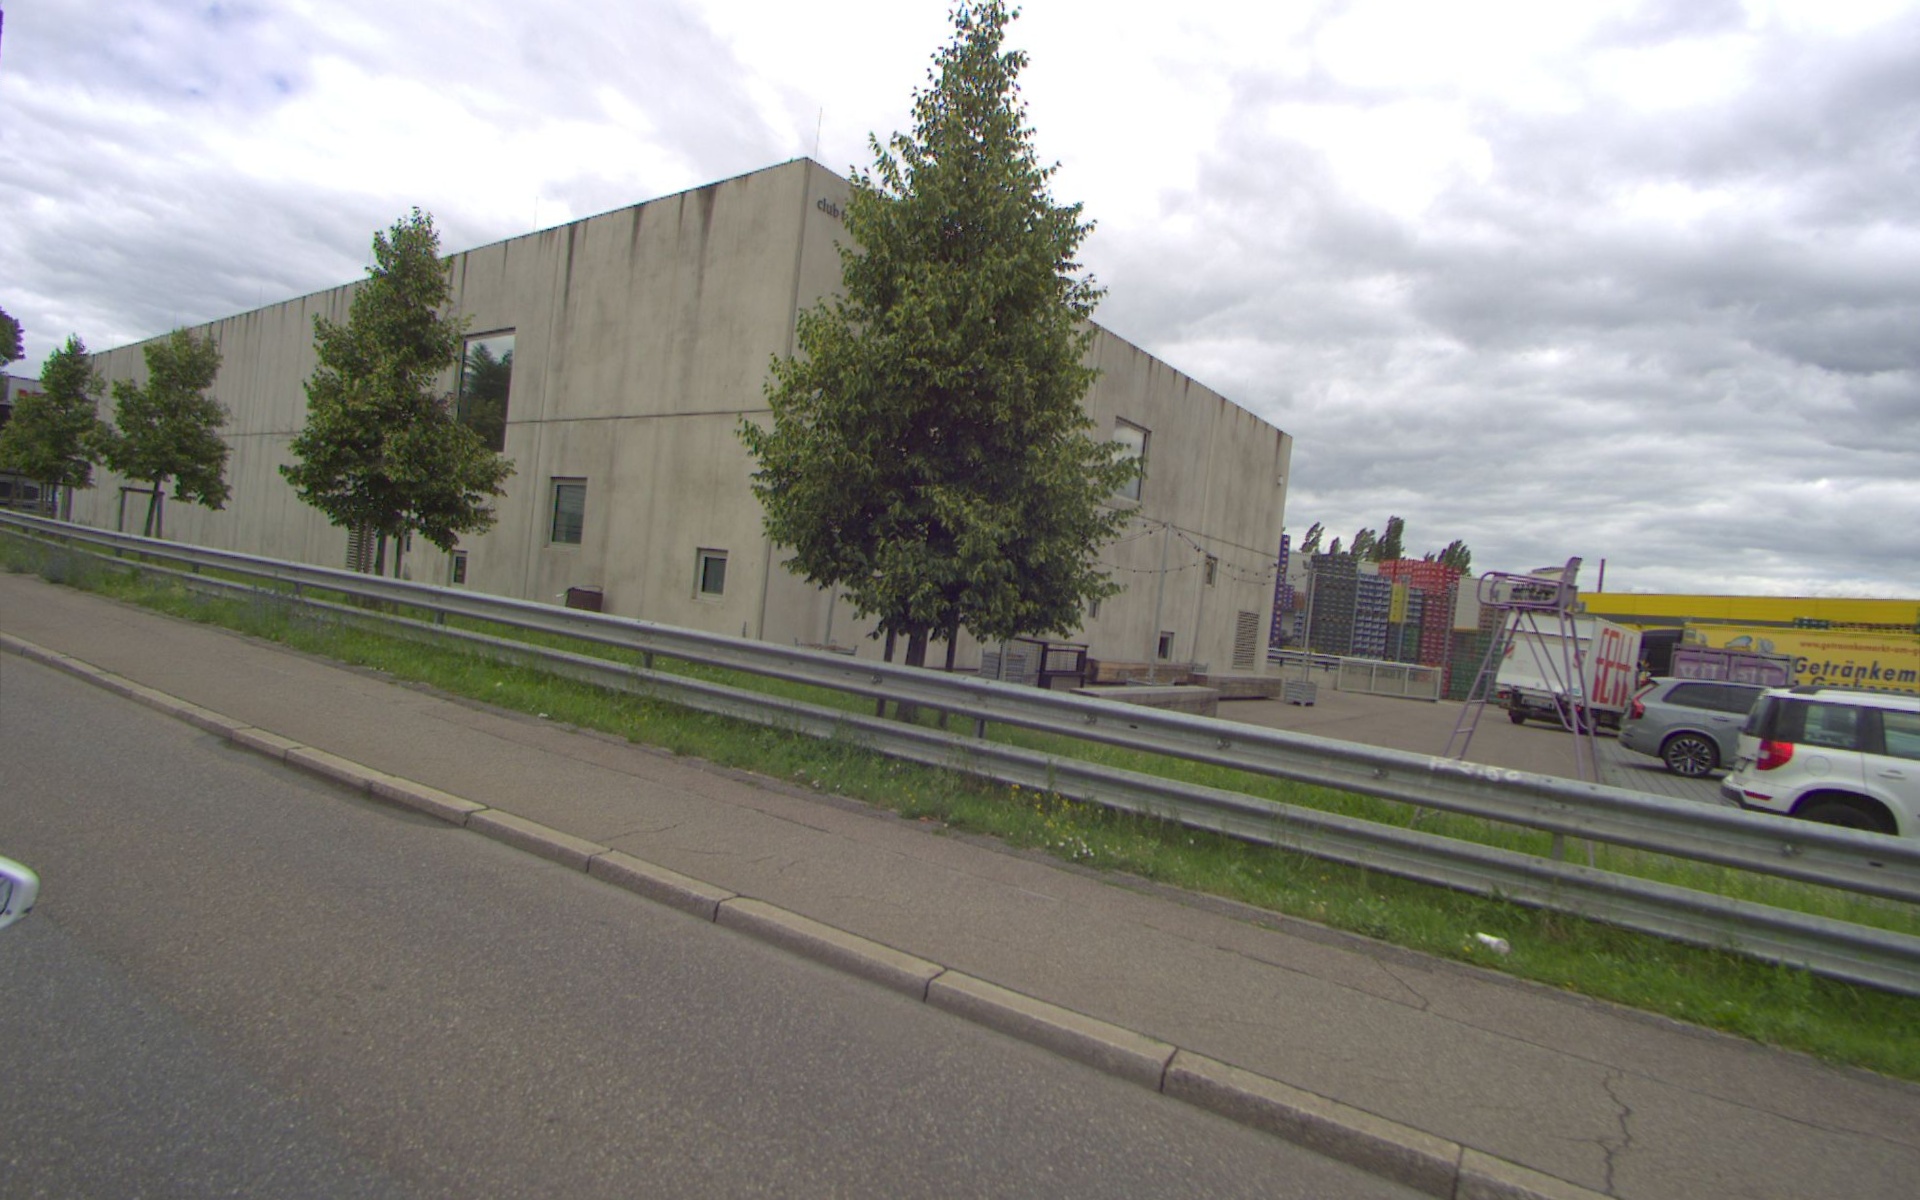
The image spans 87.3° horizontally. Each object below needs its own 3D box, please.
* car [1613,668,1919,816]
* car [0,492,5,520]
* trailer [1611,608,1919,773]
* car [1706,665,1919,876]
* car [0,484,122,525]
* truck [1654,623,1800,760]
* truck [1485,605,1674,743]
[{"bbox_3d":[14.119,2.374,17.328,4.614,1.741,1.912,7,1,35],"label":"car"},{"bbox_3d":[-51.439,-5.084,50.800,4.175,1.461,1.754,7,0,-21],"label":"car"},{"bbox_3d":[26.843,2.797,31.731,2.888,4.013,9.938,6,1,-31],"label":"trailer"},{"bbox_3d":[9.368,1.715,8.735,4.357,1.592,1.752,8,-1,33],"label":"car"},{"bbox_3d":[-48.431,-5.103,54.269,2.120,1.568,4.521,5,0,16],"label":"car"},{"bbox_3d":[21.572,2.688,28.083,2.587,3.071,7.743,6,-3,41],"label":"truck"},{"bbox_3d":[17.964,2.234,28.922,7.724,3.071,2.324,10,-3,-42],"label":"truck"}]
